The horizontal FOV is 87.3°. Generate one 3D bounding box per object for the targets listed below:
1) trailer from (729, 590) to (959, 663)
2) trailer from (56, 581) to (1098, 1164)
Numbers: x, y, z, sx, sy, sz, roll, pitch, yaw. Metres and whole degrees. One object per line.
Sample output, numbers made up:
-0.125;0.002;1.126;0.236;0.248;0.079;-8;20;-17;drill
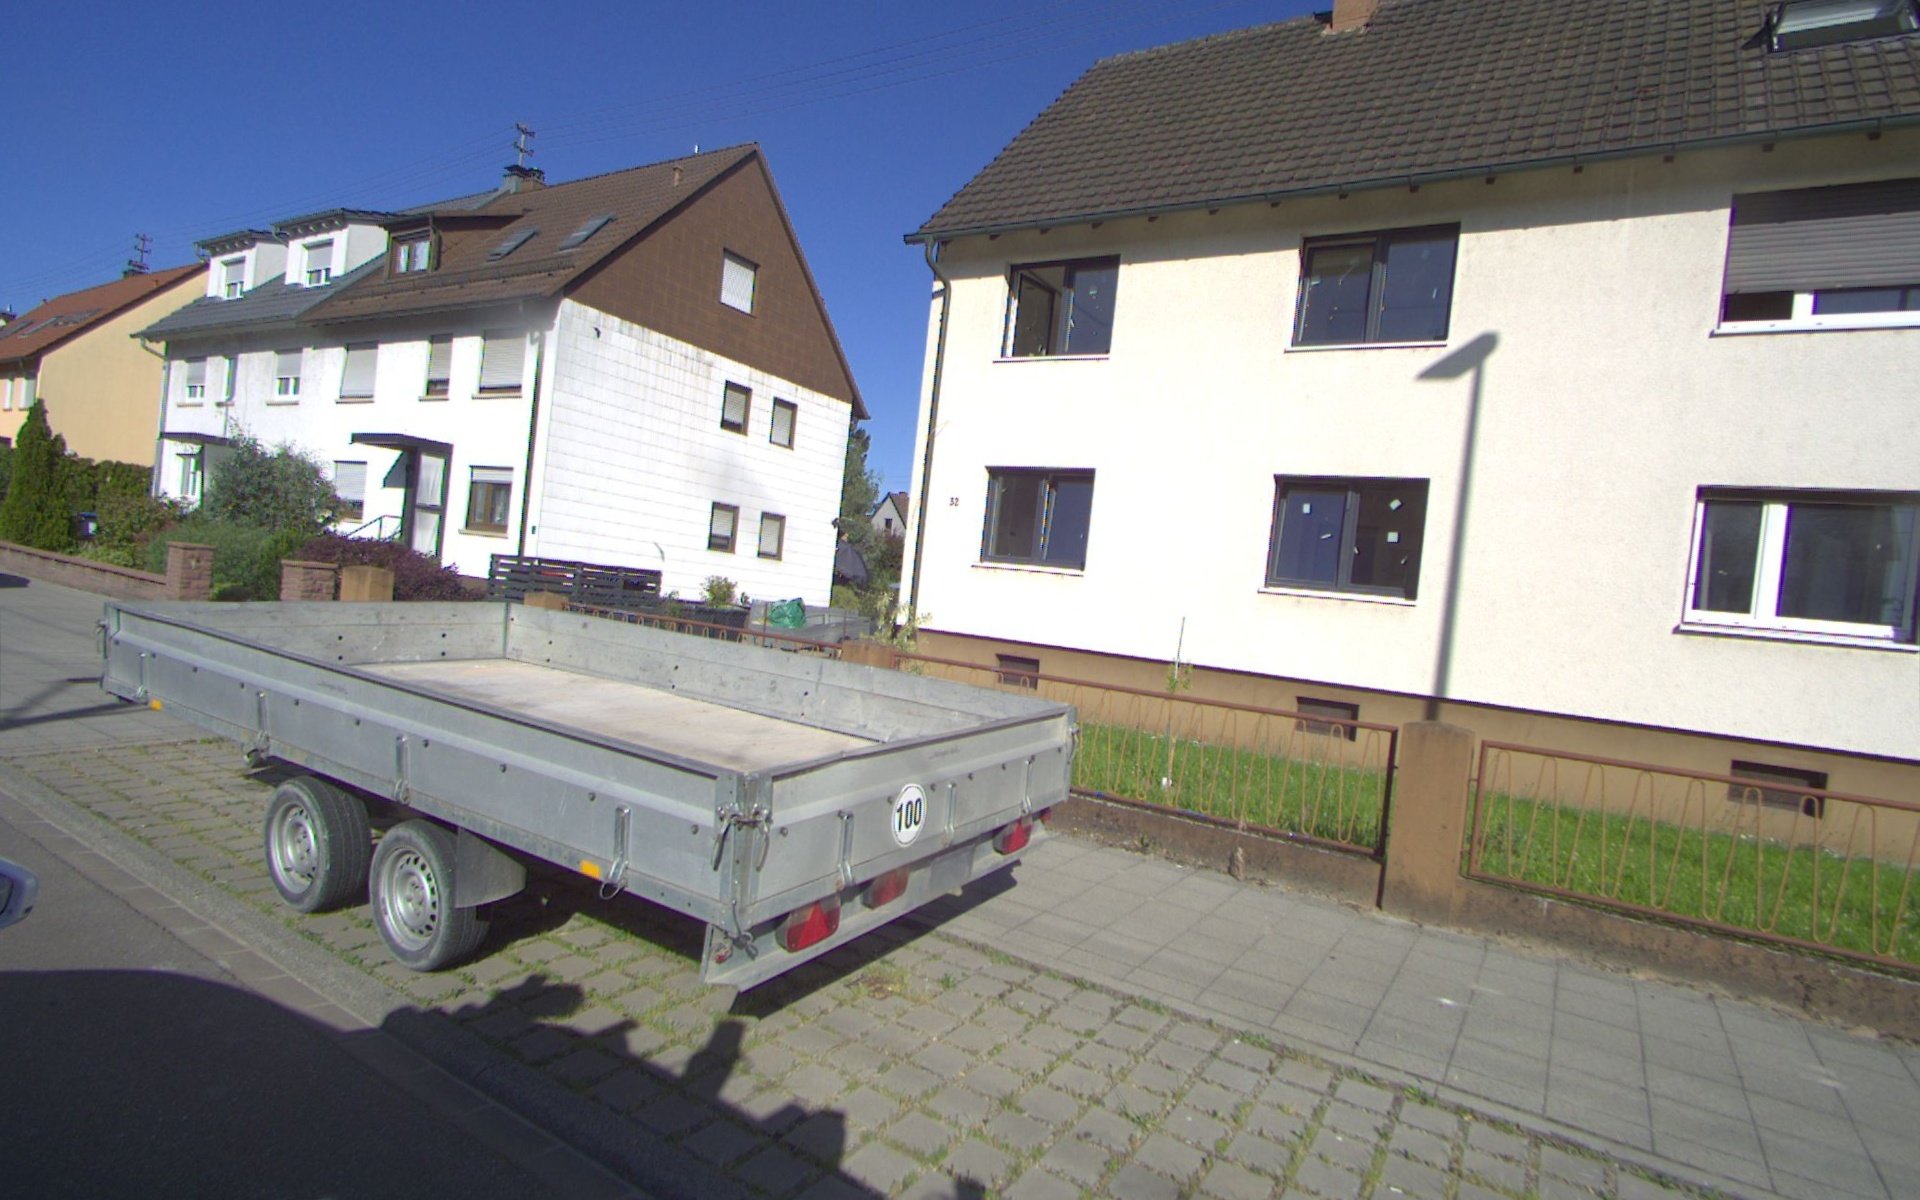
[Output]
-2.081;0.573;19.597;1.618;1.041;4.806;7;0;35;trailer
-1.837;0.703;4.559;4.299;1.108;2.205;6;1;31;trailer
